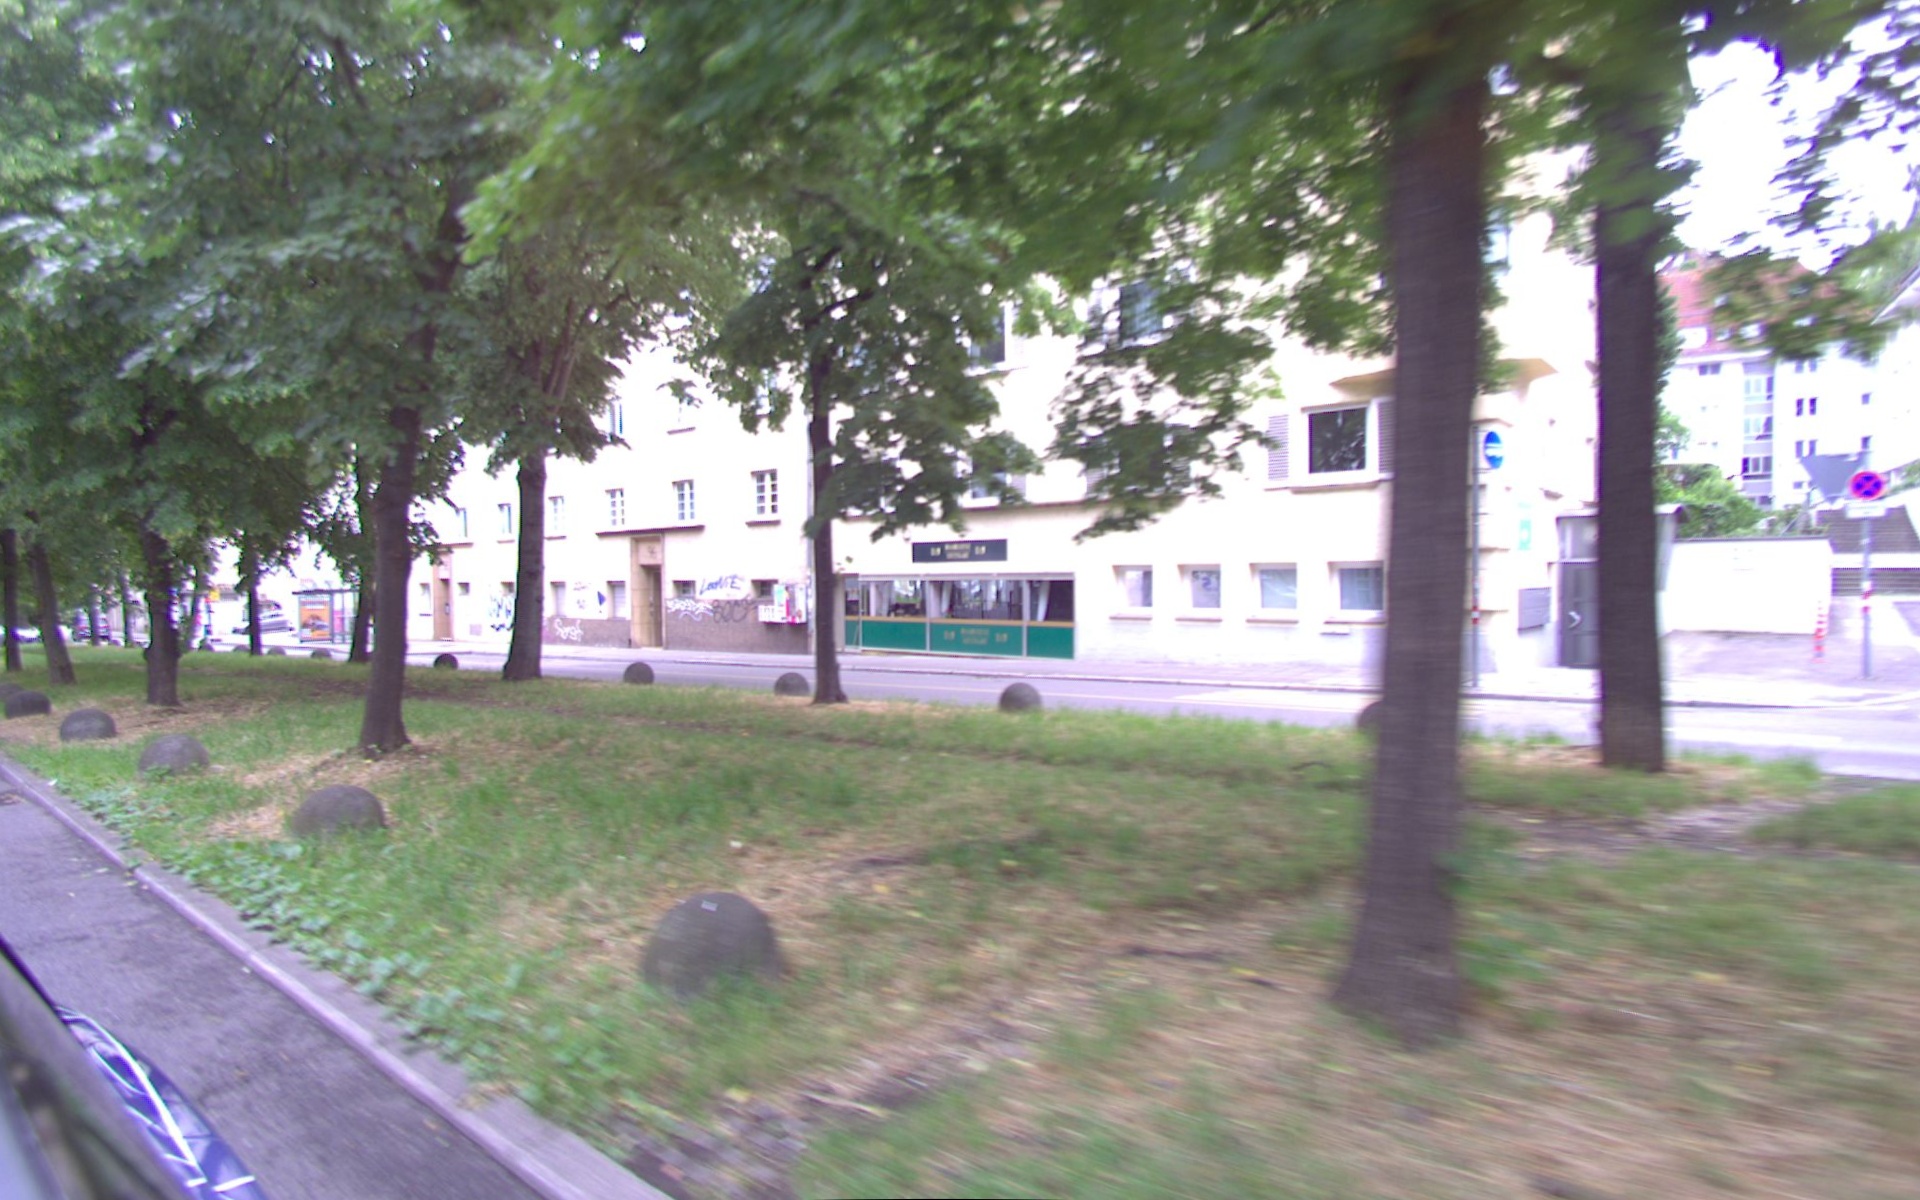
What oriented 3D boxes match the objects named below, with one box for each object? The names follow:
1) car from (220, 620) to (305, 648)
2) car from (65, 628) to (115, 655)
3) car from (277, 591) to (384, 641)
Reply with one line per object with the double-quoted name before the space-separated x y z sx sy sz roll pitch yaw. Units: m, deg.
"car" -46.385 2.230 67.375 2.048 1.430 4.242 -3 2 43
"car" -57.915 2.773 67.346 4.362 1.641 1.929 -2 -1 41
"car" -38.868 0.936 62.626 2.169 2.757 5.137 -2 1 30
